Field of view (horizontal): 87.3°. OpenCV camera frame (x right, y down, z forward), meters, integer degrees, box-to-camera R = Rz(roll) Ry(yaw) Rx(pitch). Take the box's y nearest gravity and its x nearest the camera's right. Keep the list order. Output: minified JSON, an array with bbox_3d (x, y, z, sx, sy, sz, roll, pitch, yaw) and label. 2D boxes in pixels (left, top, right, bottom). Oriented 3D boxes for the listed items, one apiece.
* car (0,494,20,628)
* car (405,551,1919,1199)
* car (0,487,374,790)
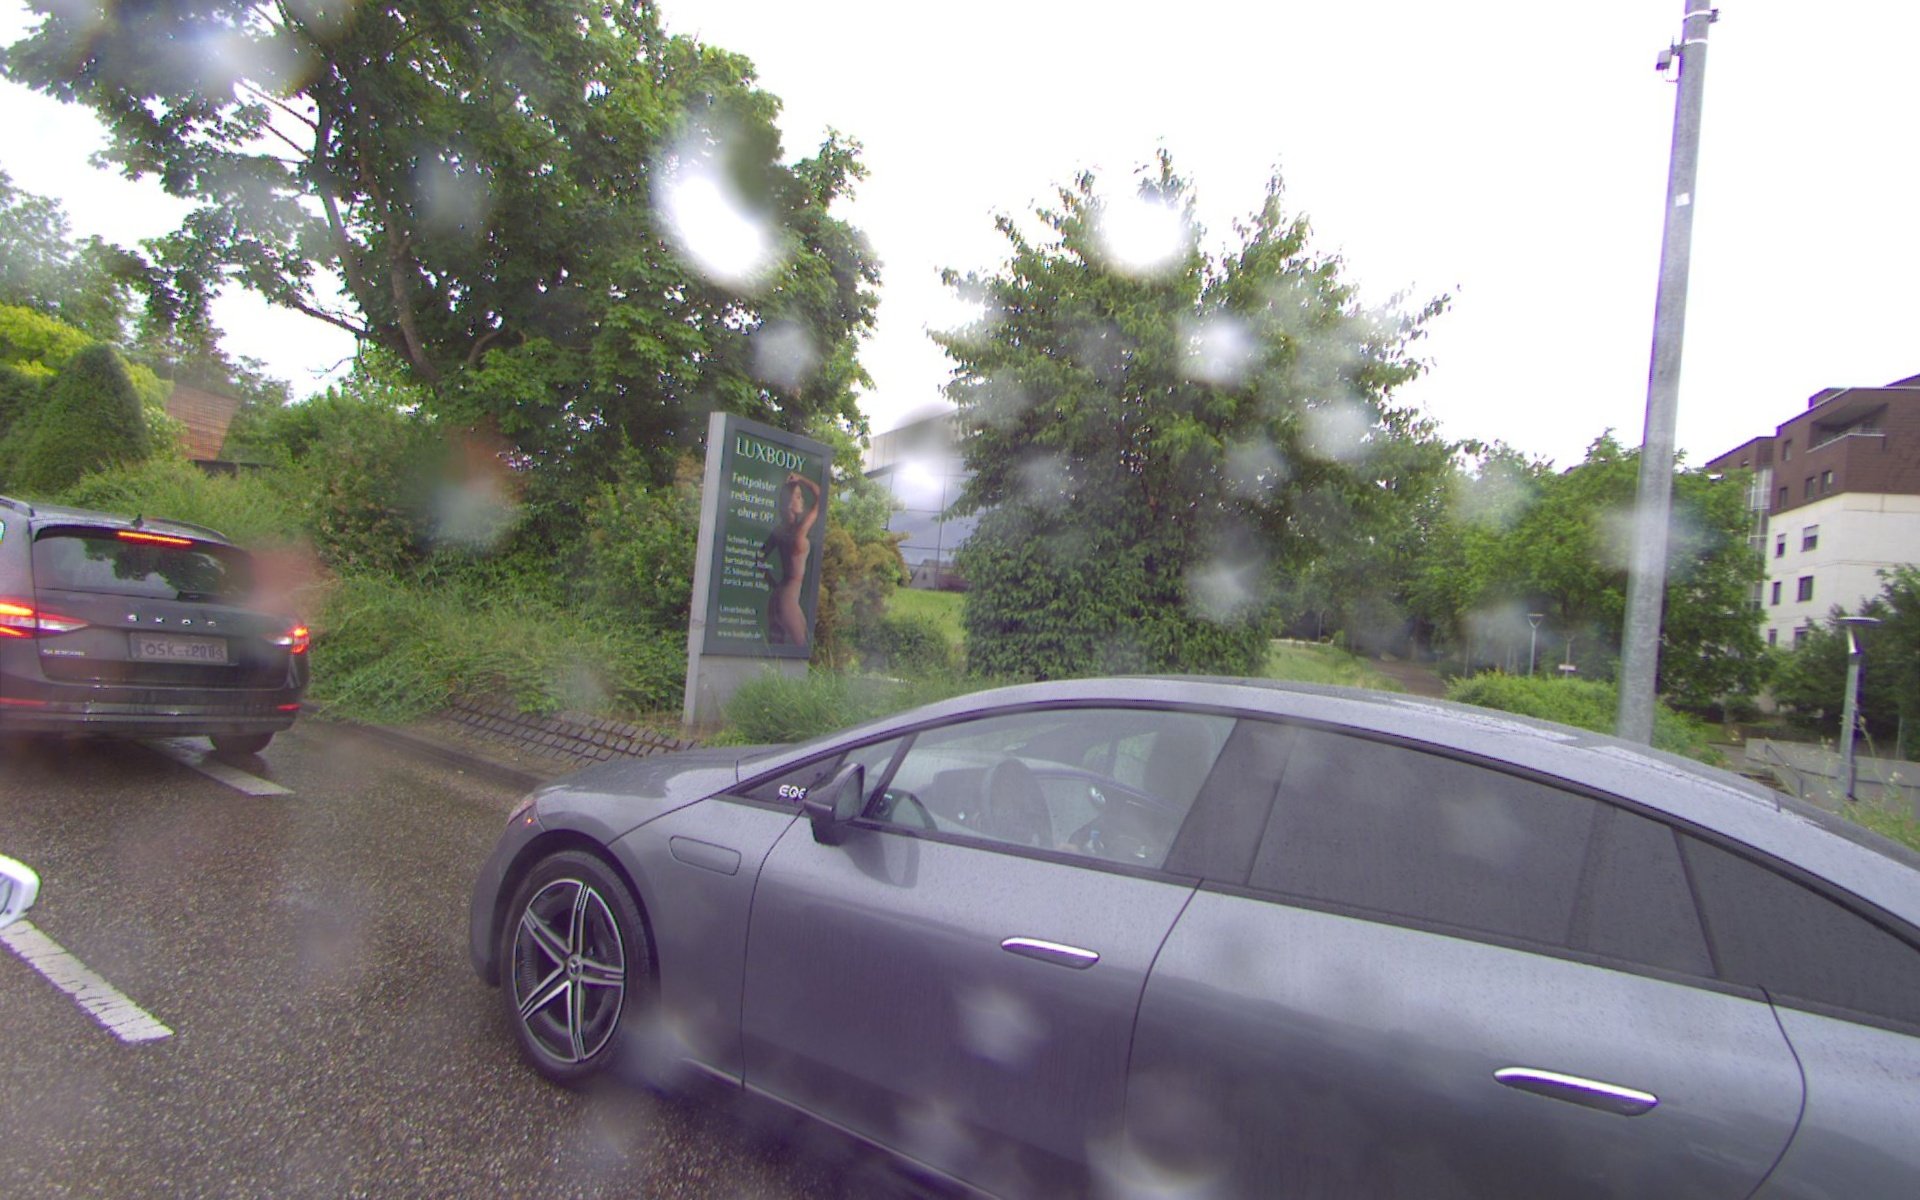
[{"bbox_3d":[-12.193,-0.663,10.858,4.048,1.483,1.842,7,-2,31],"label":"car"},{"bbox_3d":[0.734,0.923,2.896,4.728,1.483,1.842,7,-2,31],"label":"car"},{"bbox_3d":[-6.058,0.065,6.739,4.279,1.483,1.841,7,-2,33],"label":"car"}]
